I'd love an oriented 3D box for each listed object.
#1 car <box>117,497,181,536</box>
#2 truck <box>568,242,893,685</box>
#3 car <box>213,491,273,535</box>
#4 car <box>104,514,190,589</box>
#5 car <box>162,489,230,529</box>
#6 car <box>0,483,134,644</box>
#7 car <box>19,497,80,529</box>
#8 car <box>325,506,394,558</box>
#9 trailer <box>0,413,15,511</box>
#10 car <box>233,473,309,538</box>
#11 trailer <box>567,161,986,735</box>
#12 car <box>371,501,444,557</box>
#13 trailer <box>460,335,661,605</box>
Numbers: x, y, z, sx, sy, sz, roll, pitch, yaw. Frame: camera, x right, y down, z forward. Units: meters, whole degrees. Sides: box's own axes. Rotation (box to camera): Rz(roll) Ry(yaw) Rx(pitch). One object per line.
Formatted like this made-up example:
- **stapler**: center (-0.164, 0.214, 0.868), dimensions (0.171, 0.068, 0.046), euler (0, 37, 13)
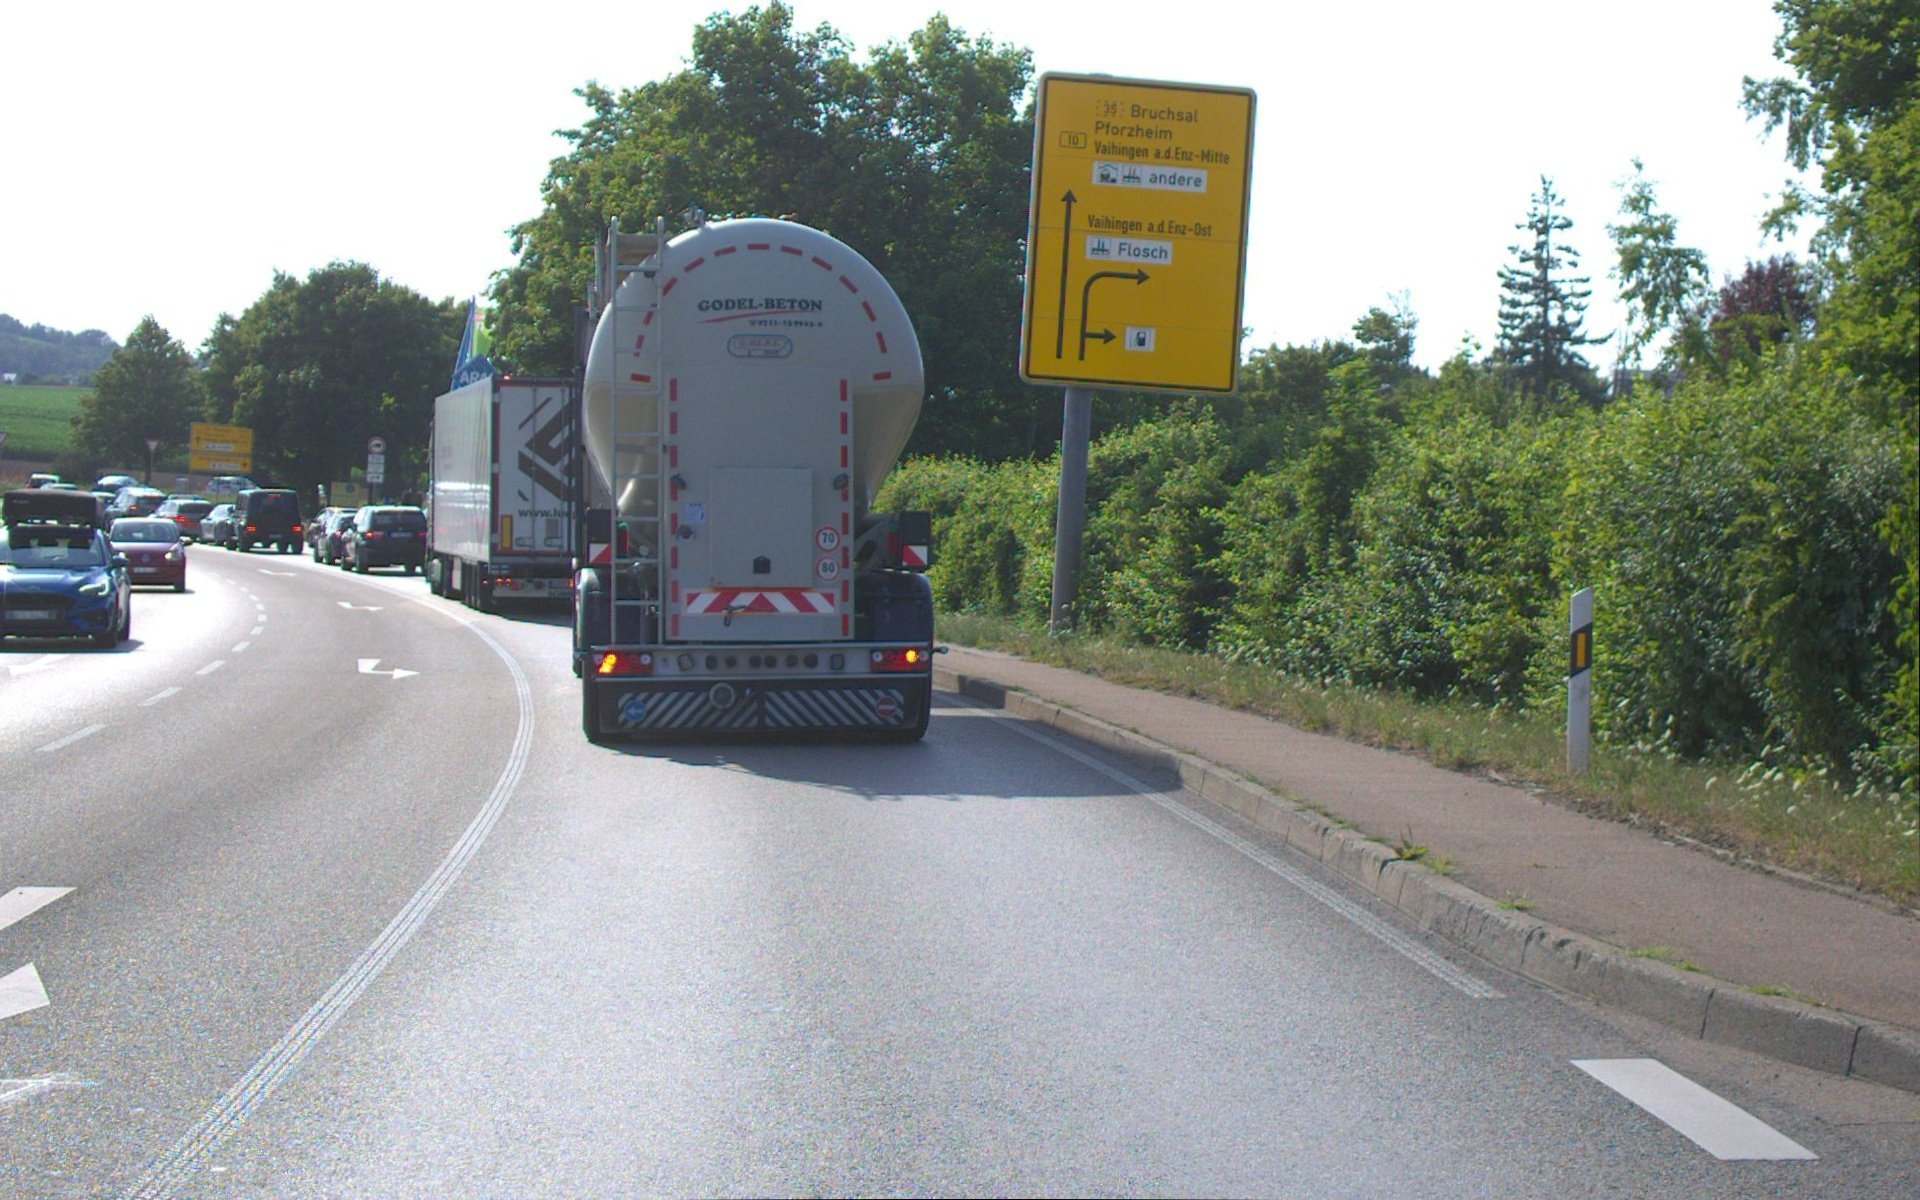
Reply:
- **car**: center (-30.413, -3.140, 128.914), dimensions (1.580, 1.336, 3.426), euler (1, 1, -26)
- **truck**: center (-2.316, -1.285, 33.360), dimensions (2.909, 3.992, 4.061), euler (1, 1, -7)
- **car**: center (-24.324, -2.947, 116.611), dimensions (1.413, 1.428, 3.148), euler (0, 0, -23)
- **car**: center (-16.568, -1.012, 70.175), dimensions (1.585, 1.461, 3.608), euler (-1, 2, -12)
- **car**: center (-27.341, -3.265, 123.000), dimensions (1.580, 1.336, 3.426), euler (1, 1, -26)
- **car**: center (-11.223, -0.484, 42.390), dimensions (1.724, 1.876, 4.337), euler (-1, 2, -10)
- **car**: center (-37.705, -3.606, 142.378), dimensions (1.769, 1.201, 3.426), euler (1, 1, -26)
- **car**: center (-16.699, -1.906, 95.470), dimensions (1.580, 1.336, 3.427), euler (2, 1, -14)
- **trailer**: center (-47.392, -6.429, 158.376), dimensions (3.375, 4.335, 14.294), euler (1, 2, -32)
- **car**: center (-21.918, -3.012, 109.284), dimensions (1.861, 2.006, 3.720), euler (0, 2, -20)
- **trailer**: center (-1.836, -1.180, 29.134), dimensions (2.909, 3.992, 9.932), euler (1, 1, -6)
- **car**: center (-14.049, -1.820, 87.314), dimensions (1.580, 1.336, 3.427), euler (2, 1, -12)
- **trailer**: center (-7.537, -2.311, 63.093), dimensions (2.954, 4.300, 14.179), euler (2, 1, -9)
